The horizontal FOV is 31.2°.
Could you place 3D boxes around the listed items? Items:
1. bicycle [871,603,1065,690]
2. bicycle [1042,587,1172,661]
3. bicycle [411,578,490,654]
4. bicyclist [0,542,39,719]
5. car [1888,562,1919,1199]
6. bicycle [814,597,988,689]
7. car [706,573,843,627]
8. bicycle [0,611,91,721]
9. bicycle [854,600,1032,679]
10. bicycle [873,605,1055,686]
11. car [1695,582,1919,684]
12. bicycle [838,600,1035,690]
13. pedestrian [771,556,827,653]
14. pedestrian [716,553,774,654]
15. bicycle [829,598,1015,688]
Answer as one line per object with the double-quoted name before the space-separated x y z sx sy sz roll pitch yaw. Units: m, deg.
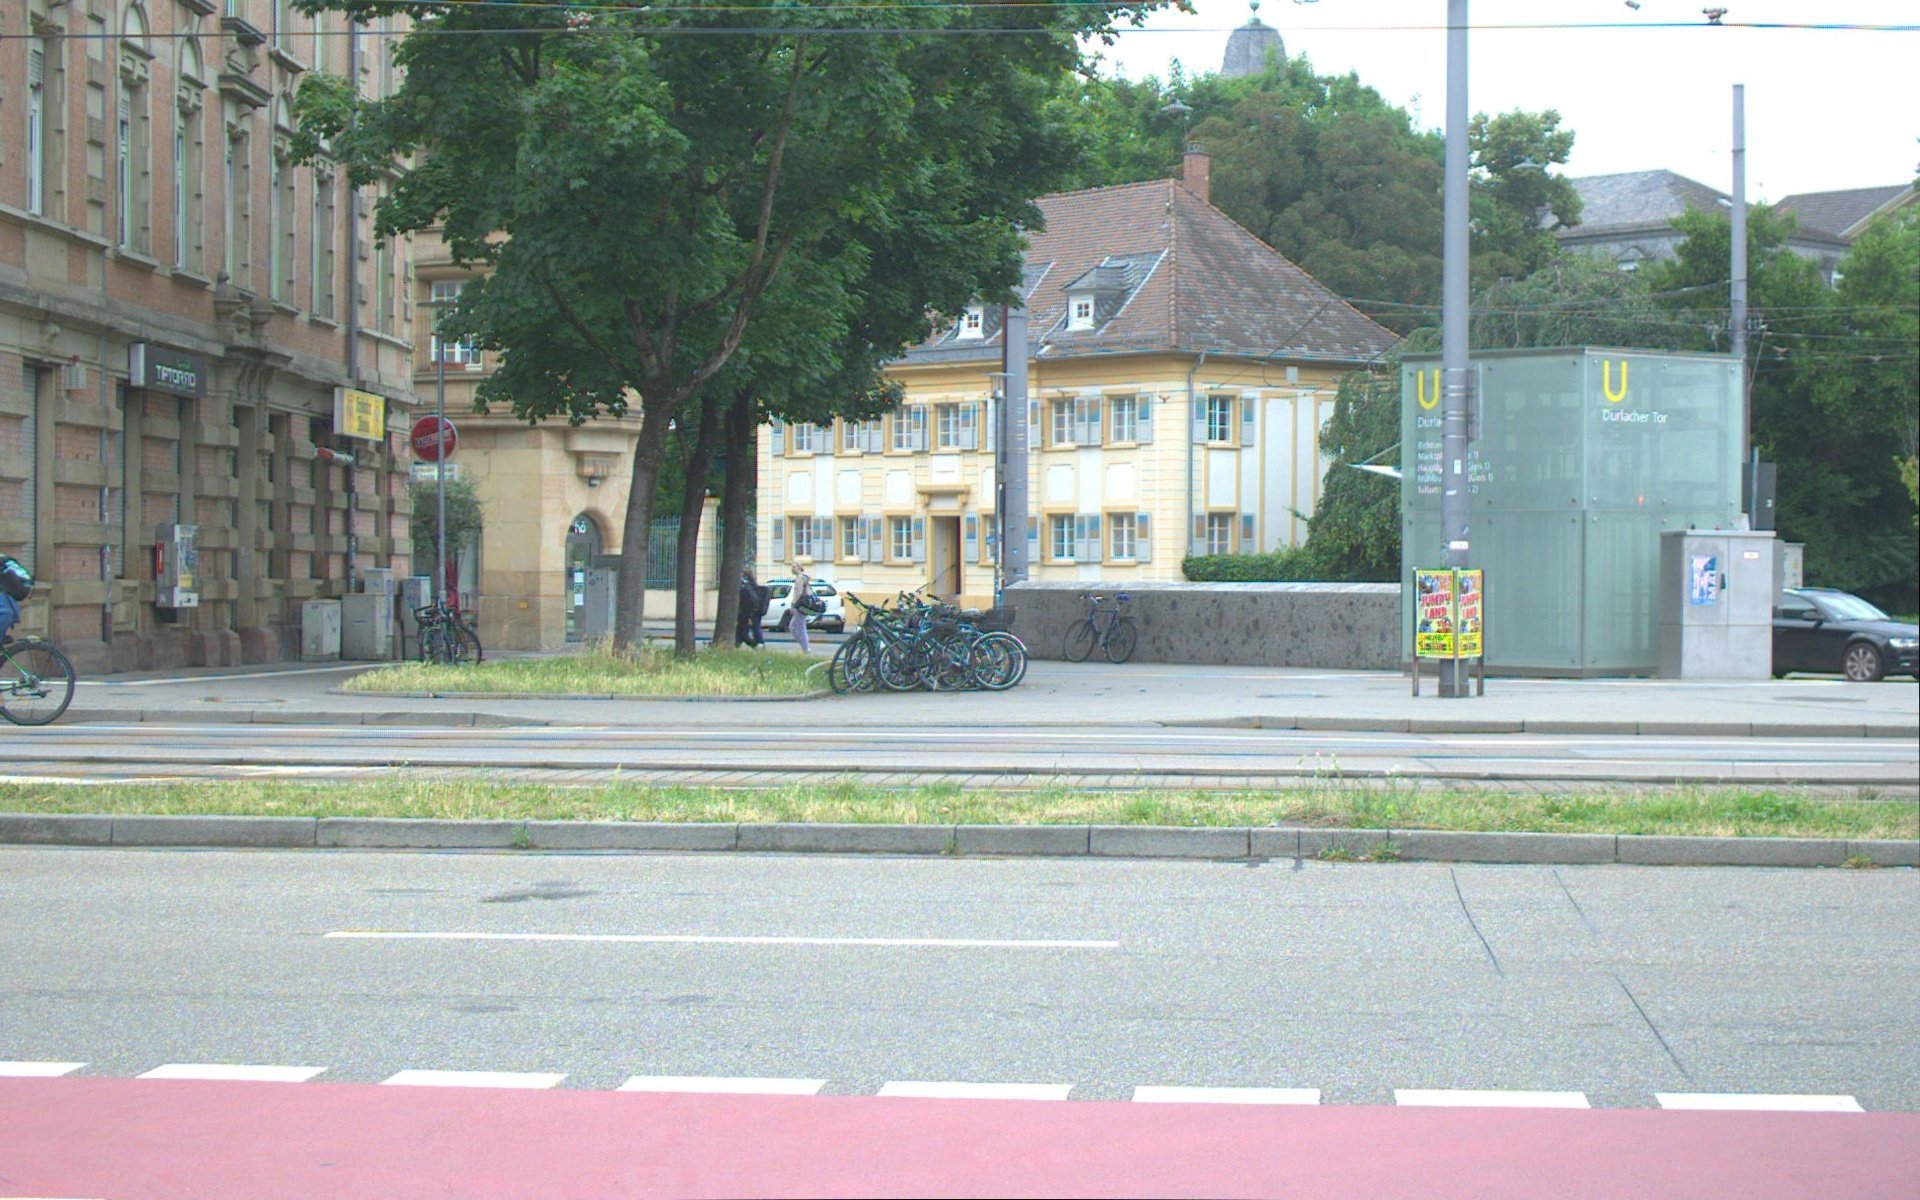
"bicycle" 0.095 0.540 40.221 2.214 0.983 0.500 1 1 13
"bicycle" 2.286 0.362 53.822 0.738 1.111 2.363 0 1 -35
"bicycle" -6.420 0.189 43.430 0.660 0.911 1.990 0 1 1
"bicyclist" -8.409 0.250 29.296 0.939 1.489 0.663 0 1 -1
"car" 4.022 0.685 8.192 1.784 1.483 4.455 1 1 40
"bicycle" -0.655 0.472 38.234 1.864 0.983 0.500 1 0 11
"car" -5.274 -0.026 97.280 1.692 1.444 4.186 0 1 -40
"bicycle" -8.343 0.555 29.316 1.714 0.912 0.608 0 1 -1
"bicycle" -0.223 0.502 44.351 2.214 0.983 0.585 1 1 13
"bicycle" 0.050 0.566 43.148 2.214 0.983 0.585 1 1 13
"car" 13.378 0.470 52.730 1.691 1.444 4.143 0 1 -32
"bicycle" -0.270 0.513 39.504 2.214 1.002 0.480 1 1 13
"pedestrian" -2.861 0.072 61.075 0.844 1.716 0.952 0 1 6
"pedestrian" -3.704 0.053 59.375 0.844 1.716 0.952 0 1 6
"bicycle" -0.428 0.479 38.960 2.032 0.983 0.521 1 1 13
